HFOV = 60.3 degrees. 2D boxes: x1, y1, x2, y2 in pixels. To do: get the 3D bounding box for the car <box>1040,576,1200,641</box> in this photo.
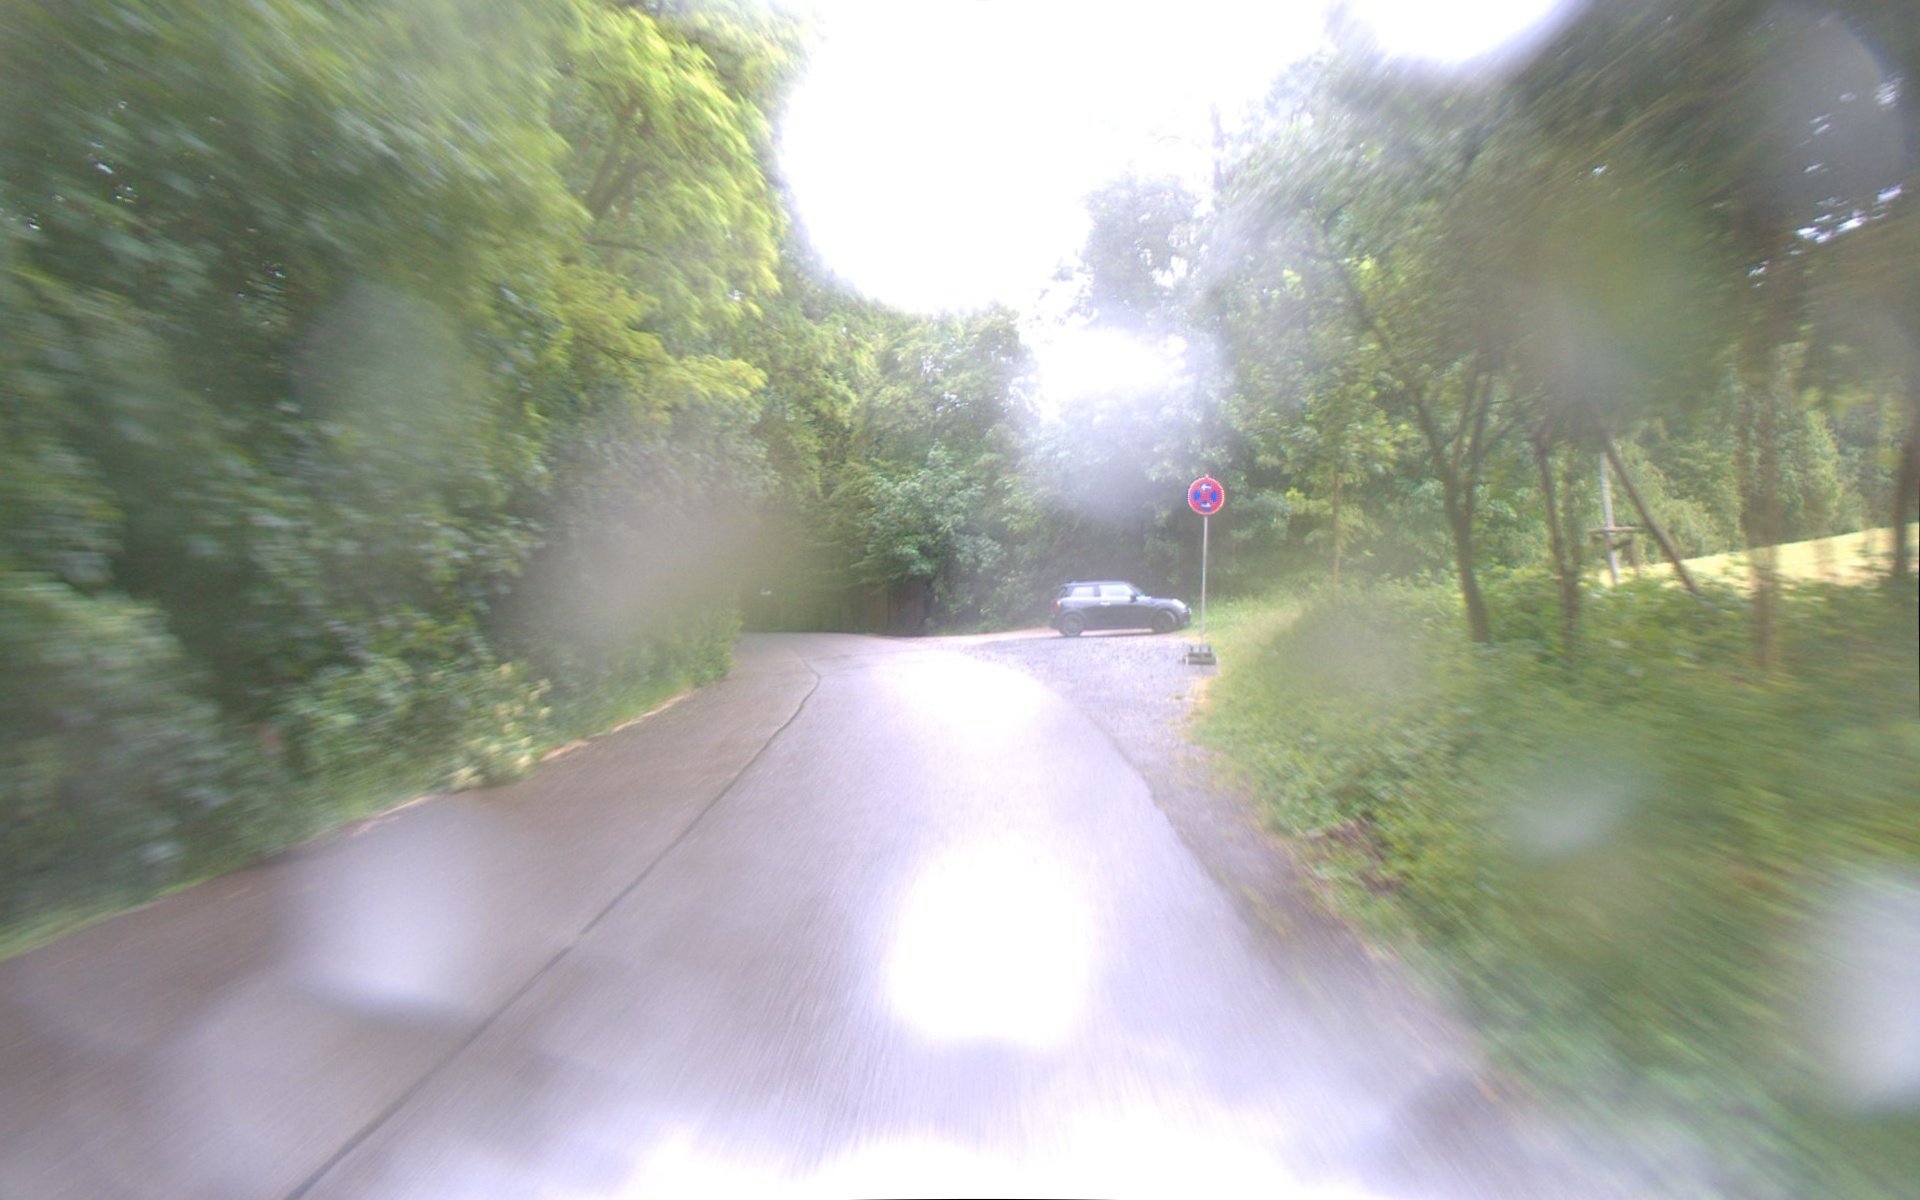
[{"bbox_3d":[4.189,0.206,43.749,3.907,1.415,1.999,-4,0,-2],"label":"car"}]
